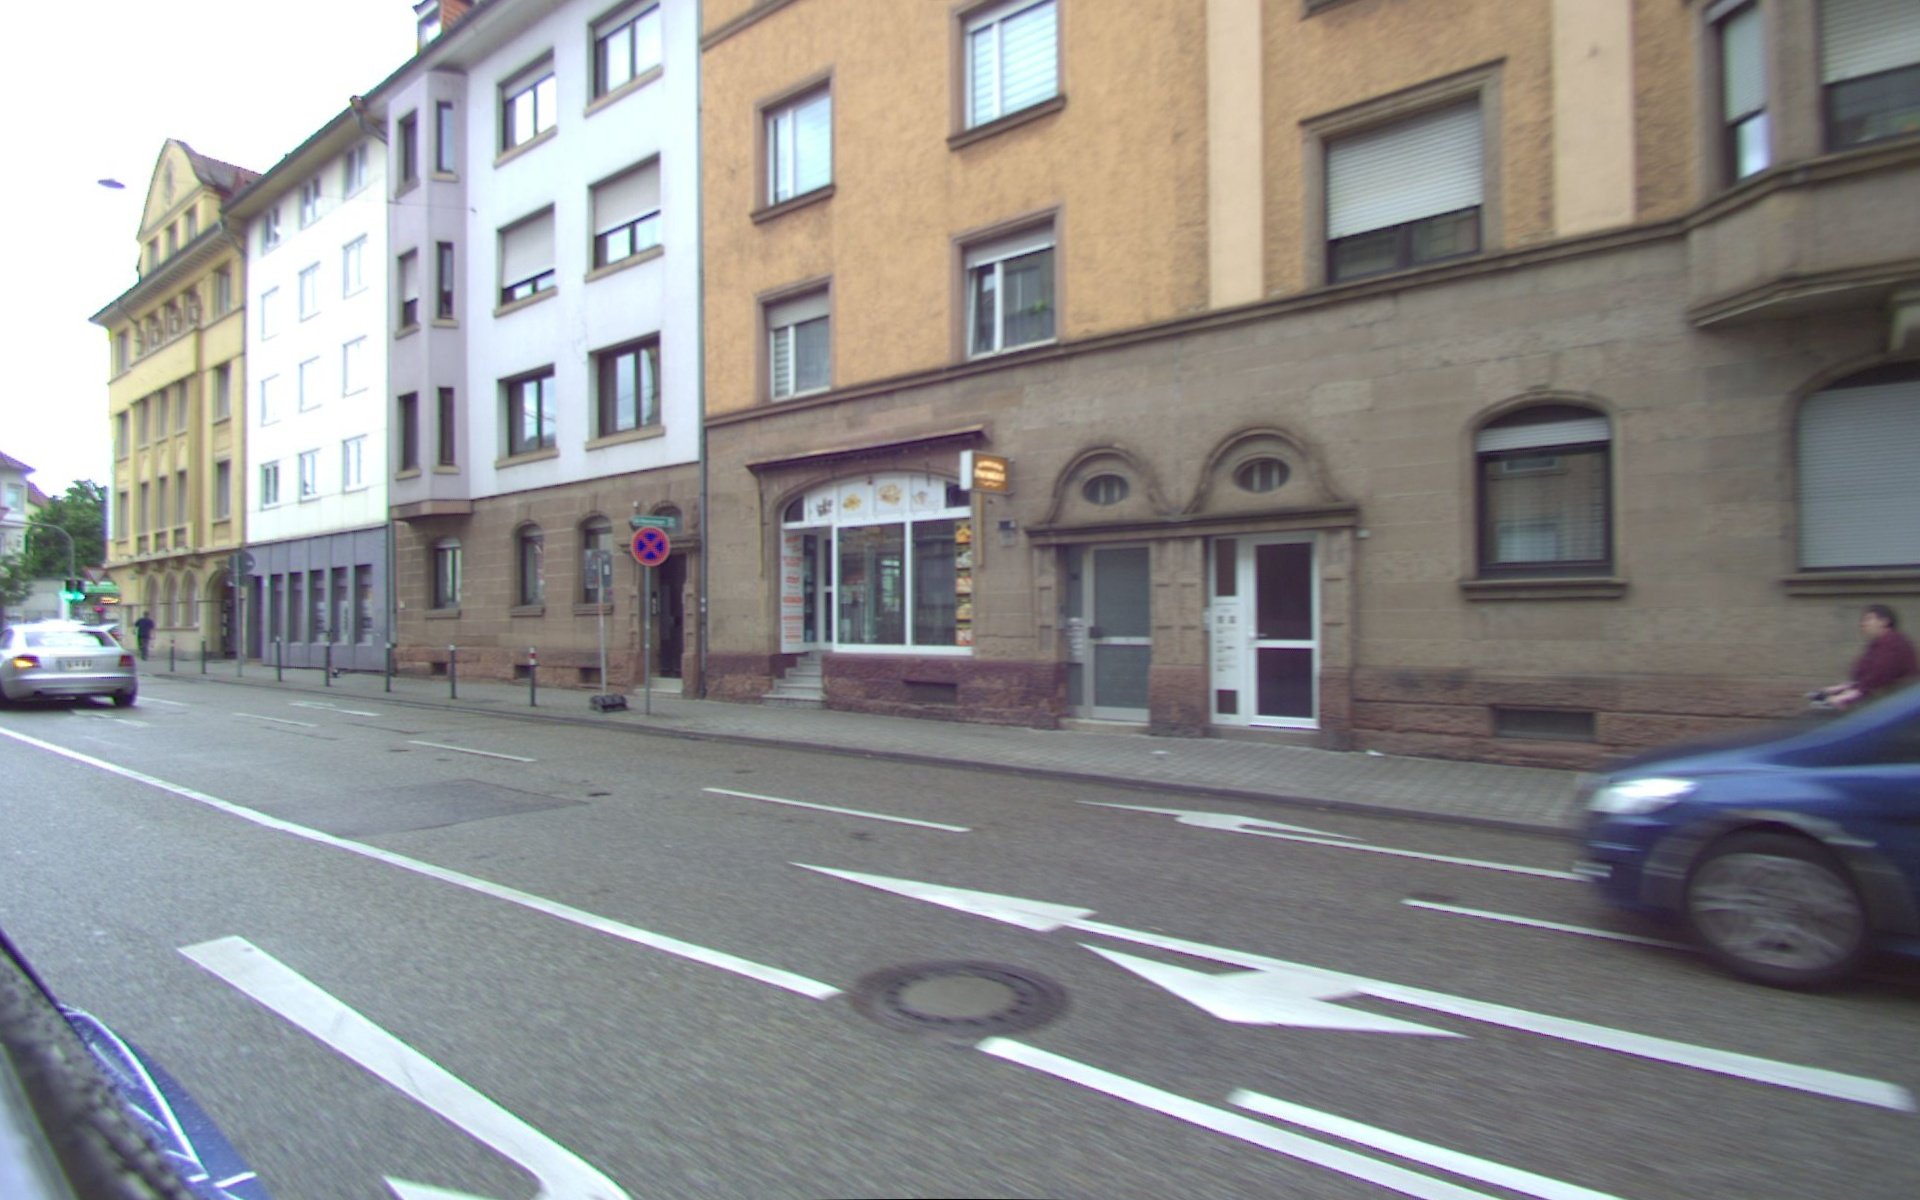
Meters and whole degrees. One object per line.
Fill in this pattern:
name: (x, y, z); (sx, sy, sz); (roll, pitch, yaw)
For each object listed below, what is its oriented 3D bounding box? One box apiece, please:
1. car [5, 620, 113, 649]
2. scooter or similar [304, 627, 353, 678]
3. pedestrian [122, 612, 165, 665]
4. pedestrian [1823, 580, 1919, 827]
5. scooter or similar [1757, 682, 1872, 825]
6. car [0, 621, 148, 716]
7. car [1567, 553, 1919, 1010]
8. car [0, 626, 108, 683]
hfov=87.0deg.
car: (-50.215, 1.907, 56.488); (2.009, 1.529, 4.013); (0, -1, 19)
scooter or similar: (-15.923, 1.303, 25.521); (1.576, 1.222, 0.457); (-1, 2, 37)
pedestrian: (-29.098, 1.358, 36.078); (1.030, 1.784, 0.885); (-1, 2, 36)
pedestrian: (6.901, 0.706, 7.277); (0.848, 1.691, 0.838); (0, 1, 25)
scooter or similar: (6.357, 1.115, 7.557); (0.477, 0.932, 0.708); (0, 1, 25)
car: (-16.412, 1.122, 18.074); (4.552, 1.481, 1.925); (-1, -2, 37)
car: (4.852, 0.670, 3.698); (4.304, 1.664, 1.736); (-1, -2, 40)
car: (-28.078, 1.629, 31.299); (4.335, 1.607, 1.961); (-1, -2, 41)
